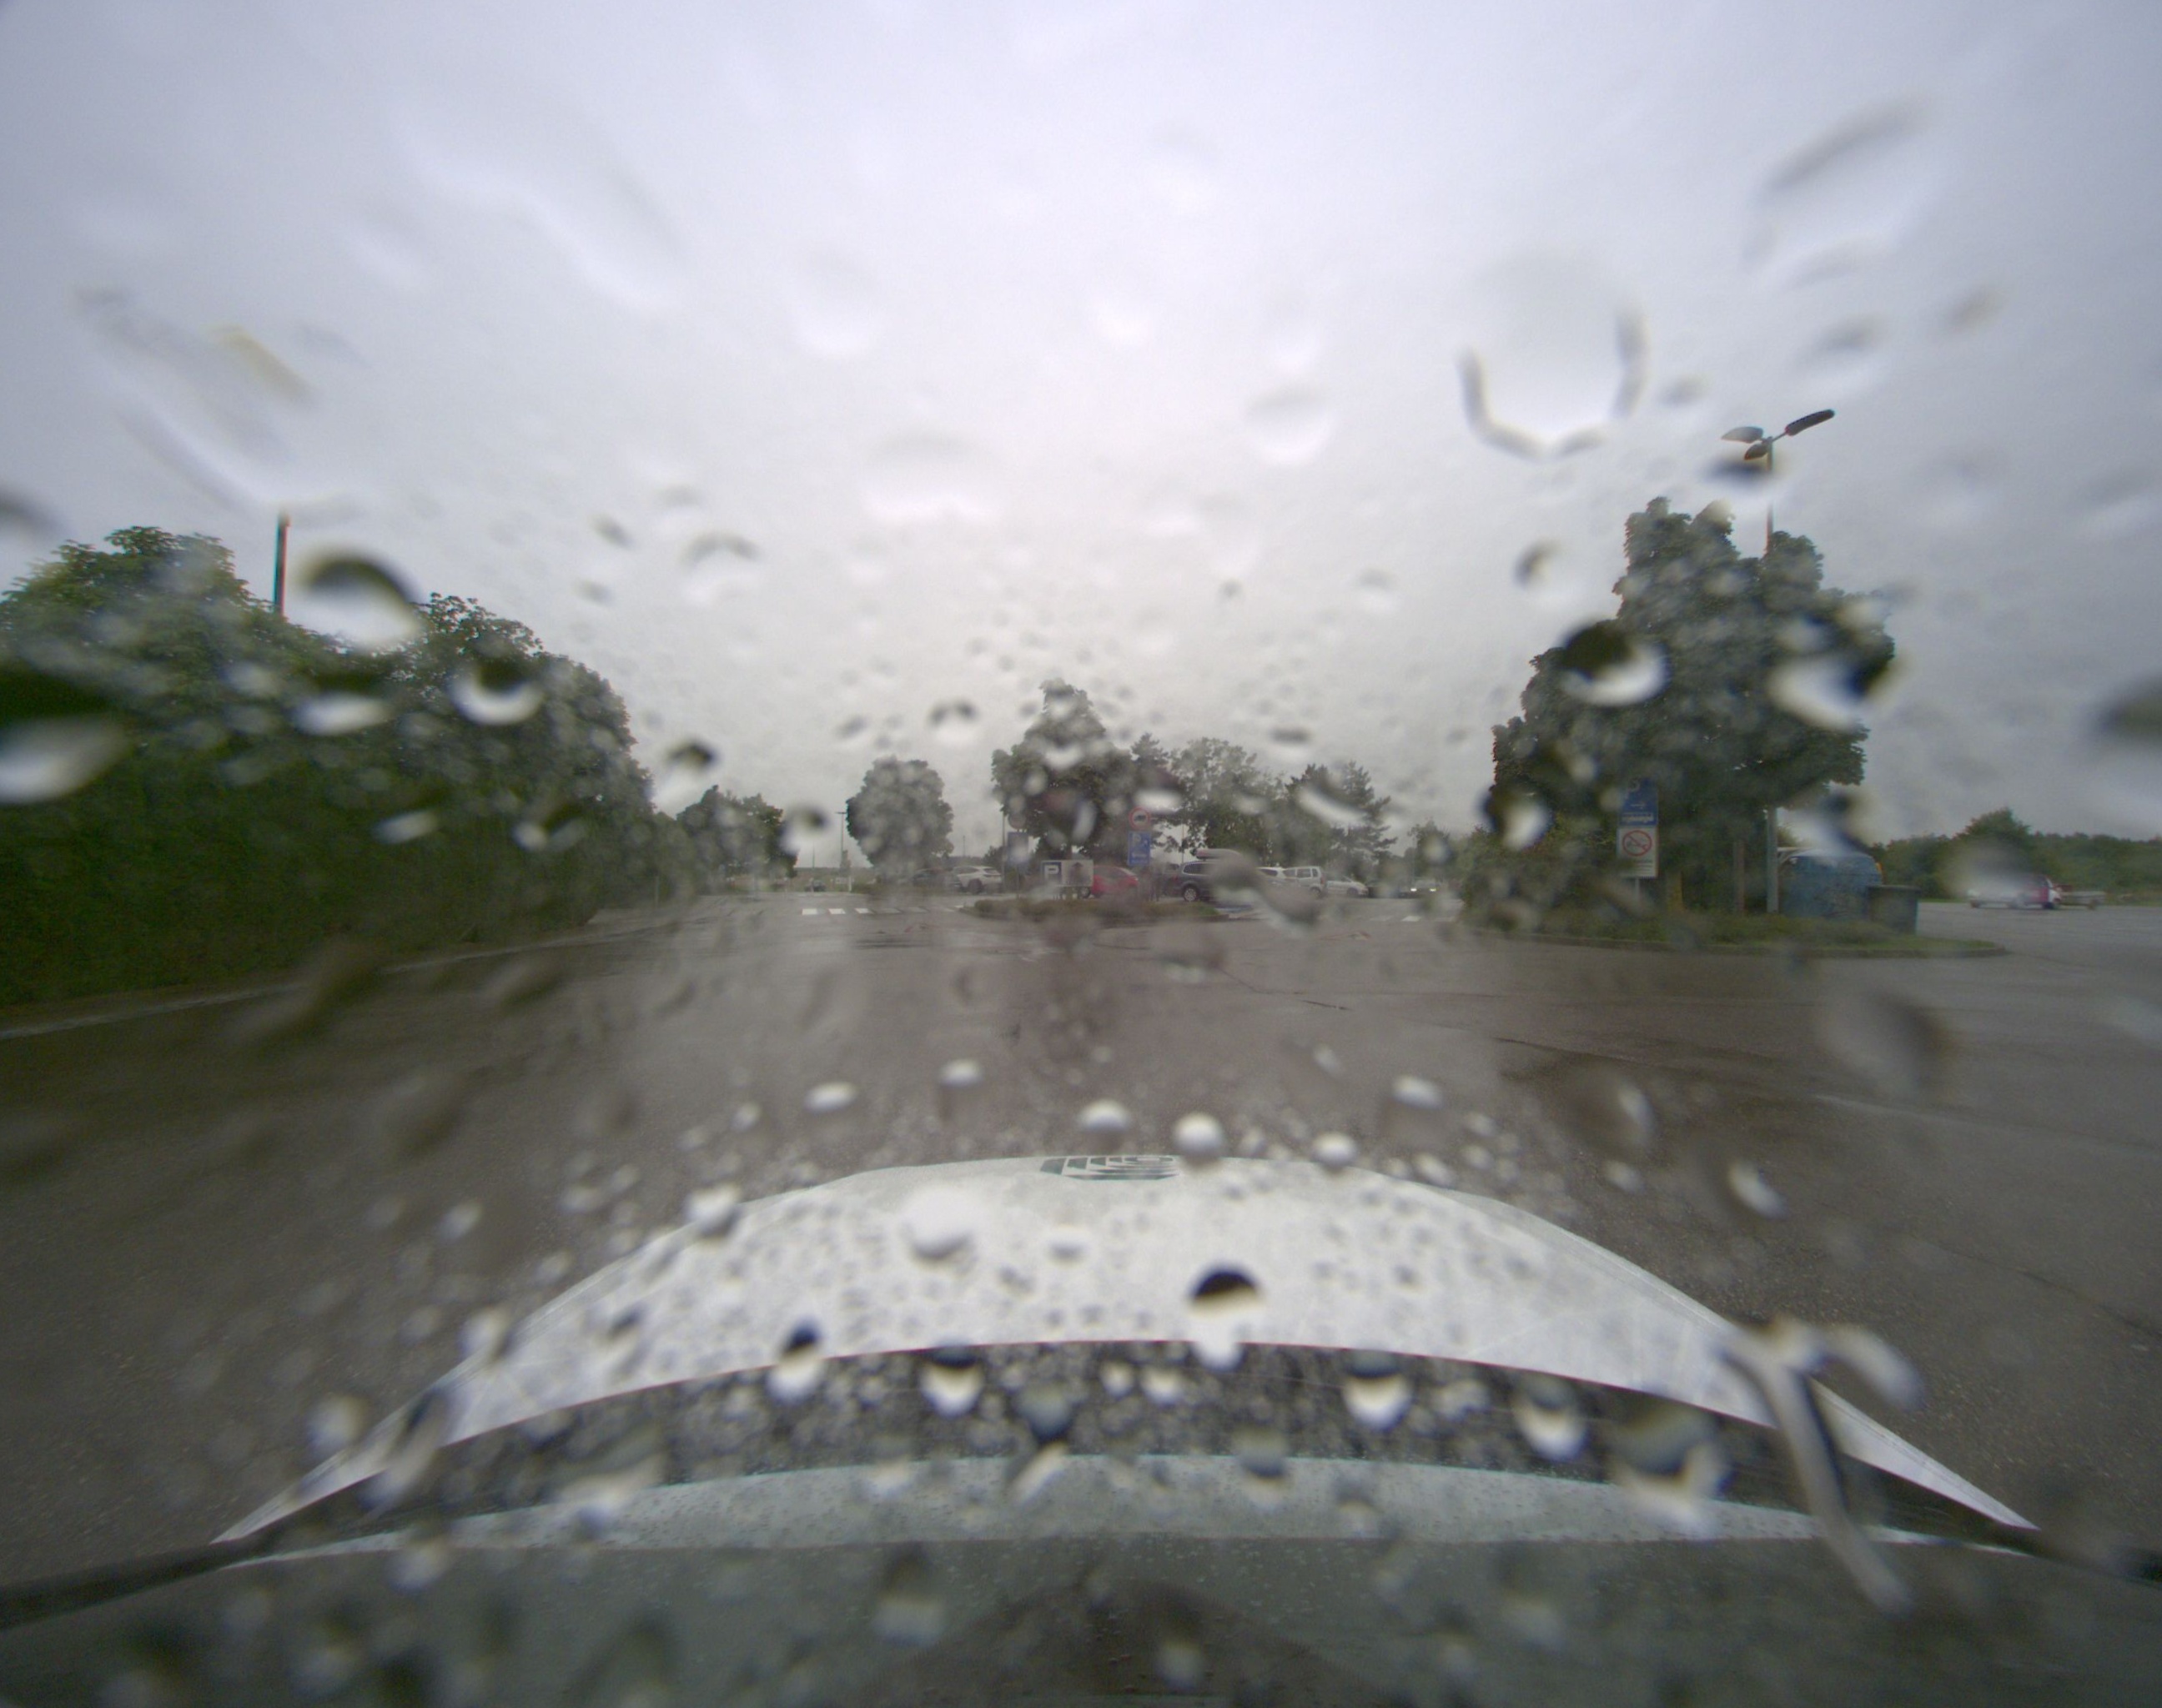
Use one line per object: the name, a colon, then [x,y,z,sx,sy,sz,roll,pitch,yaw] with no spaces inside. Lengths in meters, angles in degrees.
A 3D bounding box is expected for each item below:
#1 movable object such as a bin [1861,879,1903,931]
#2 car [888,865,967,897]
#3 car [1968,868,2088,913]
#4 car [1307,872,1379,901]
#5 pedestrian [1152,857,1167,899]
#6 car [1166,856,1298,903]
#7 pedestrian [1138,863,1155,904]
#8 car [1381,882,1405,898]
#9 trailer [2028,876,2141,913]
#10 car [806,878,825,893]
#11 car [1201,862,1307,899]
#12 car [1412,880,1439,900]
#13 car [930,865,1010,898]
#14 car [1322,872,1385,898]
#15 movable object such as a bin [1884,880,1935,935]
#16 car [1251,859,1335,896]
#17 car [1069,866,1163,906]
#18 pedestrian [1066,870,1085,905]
movable object such as a bin: [15.057,0.954,15.319,0.450,0.948,0.403,1,0,-20]
car: [-8.478,1.497,44.851,3.976,1.716,1.730,-1,-3,26]
car: [39.550,1.538,34.039,3.996,1.777,1.817,2,-2,-17]
car: [17.449,2.173,54.289,4.314,1.862,1.861,-1,-3,26]
pedestrian: [3.320,1.004,34.269,0.606,1.725,0.685,1,-3,6]
car: [6.104,1.011,33.058,4.889,1.792,2.012,-1,-1,26]
pedestrian: [2.688,1.211,33.330,0.710,1.639,0.647,0,-3,5]
car: [27.229,3.152,71.012,1.630,1.370,3.834,0,-3,25]
trailer: [43.394,1.731,35.230,3.996,1.533,1.690,1,-2,-17]
car: [-37.071,4.474,113.667,1.702,2.014,3.989,2,-3,-7]
car: [7.505,1.122,35.338,4.145,1.517,1.754,-1,0,27]
car: [24.953,2.645,58.932,1.630,1.370,4.022,0,-3,25]
car: [-6.466,1.618,47.326,4.314,1.862,1.730,-1,-3,26]
car: [20.681,2.342,61.831,4.314,1.862,1.861,0,-2,26]
movable object such as a bin: [14.971,0.960,14.724,0.469,0.949,0.436,1,0,4]
car: [11.114,1.242,42.732,3.973,1.862,1.861,-1,-3,26]
car: [1.658,1.466,38.447,3.973,1.792,1.861,-1,-1,26]
pedestrian: [-0.221,1.331,32.280,0.644,1.362,0.450,2,-3,-14]
